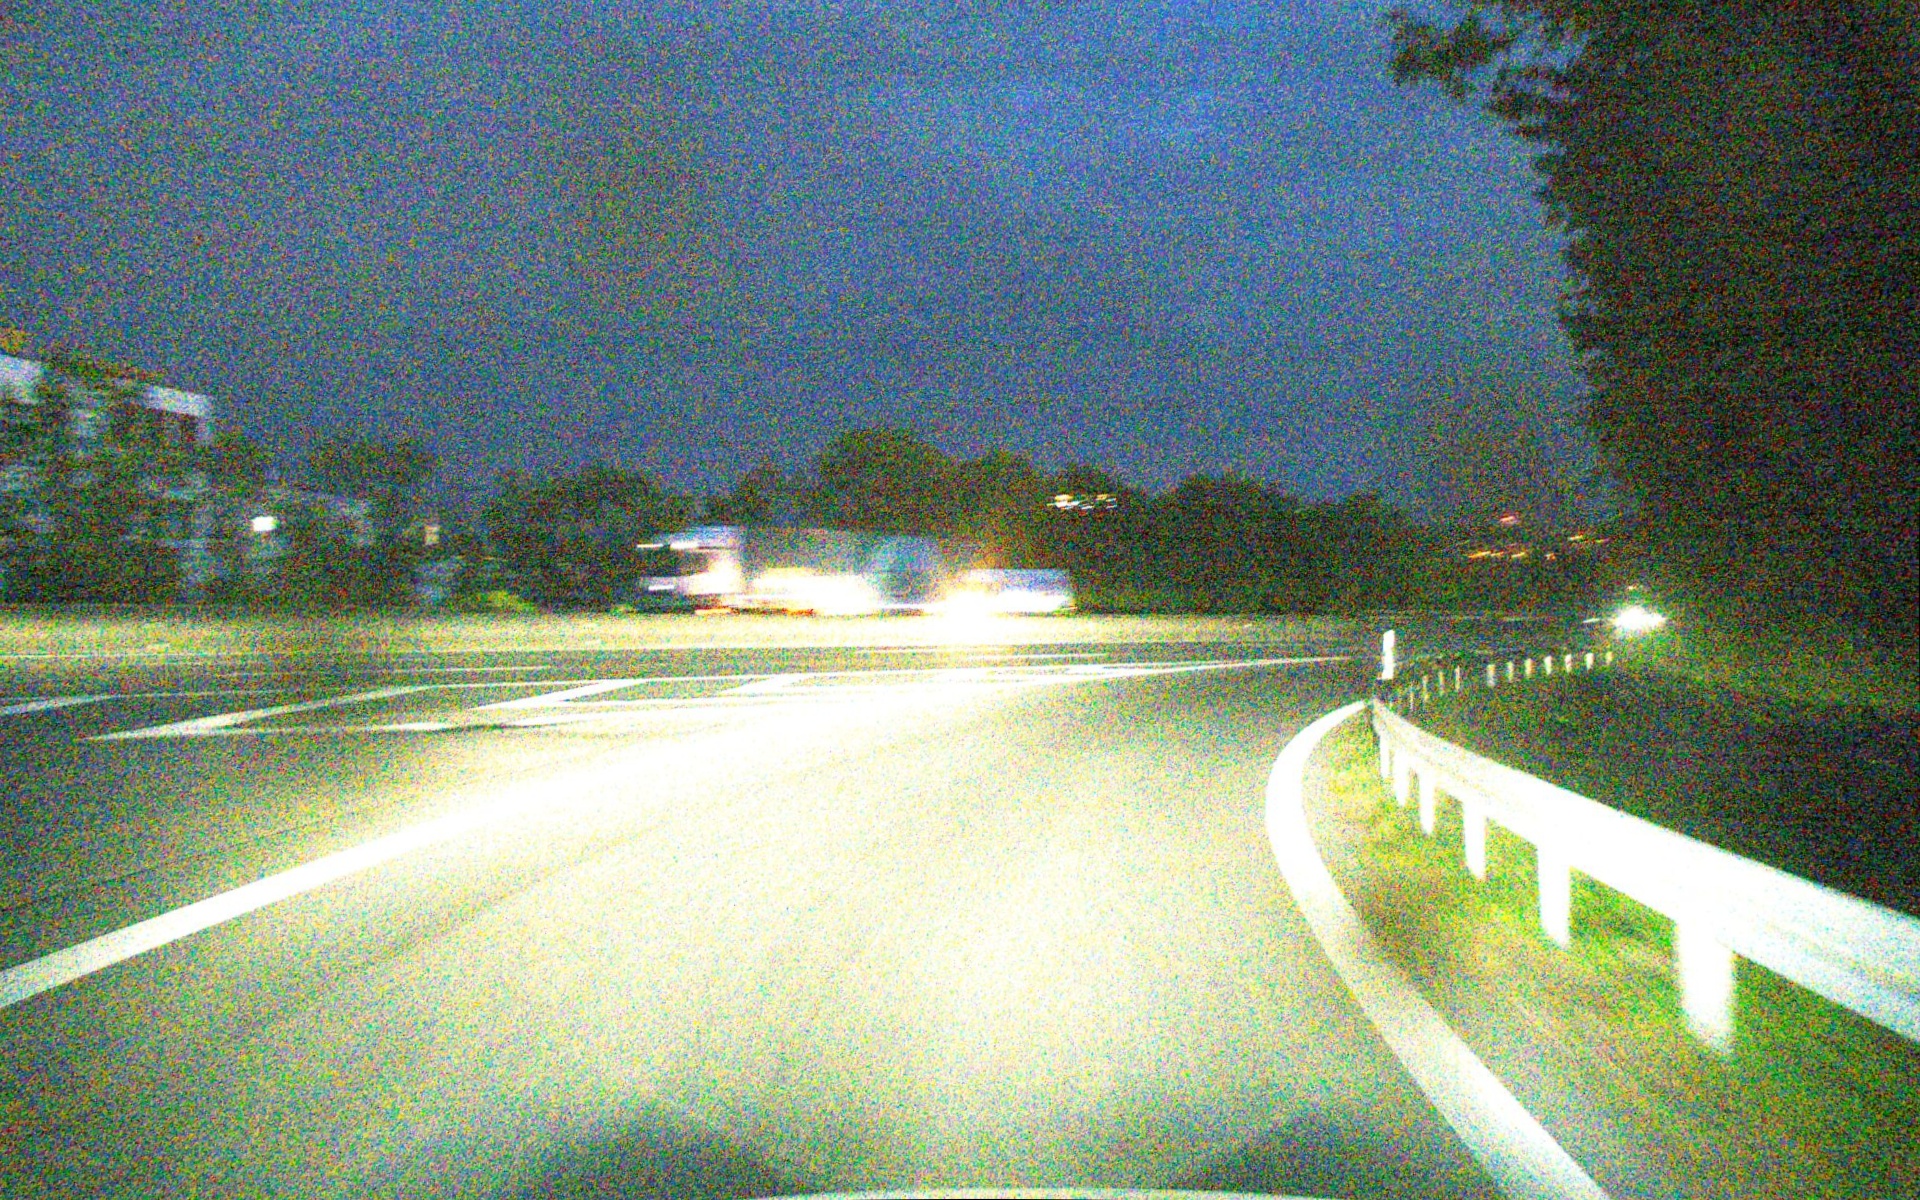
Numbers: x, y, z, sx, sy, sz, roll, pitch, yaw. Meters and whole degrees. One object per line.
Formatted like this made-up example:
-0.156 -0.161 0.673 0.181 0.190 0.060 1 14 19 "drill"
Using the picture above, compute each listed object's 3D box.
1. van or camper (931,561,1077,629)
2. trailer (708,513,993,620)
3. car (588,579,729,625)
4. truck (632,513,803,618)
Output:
1.859 -0.167 66.722 1.962 2.594 7.149 1 0 38 "van or camper"
-4.025 -1.178 66.418 2.716 3.883 13.687 1 0 40 "trailer"
-8.901 0.054 49.065 1.601 1.299 3.976 2 1 42 "car"
-8.832 -1.210 60.763 2.715 3.658 5.933 1 0 39 "truck"
